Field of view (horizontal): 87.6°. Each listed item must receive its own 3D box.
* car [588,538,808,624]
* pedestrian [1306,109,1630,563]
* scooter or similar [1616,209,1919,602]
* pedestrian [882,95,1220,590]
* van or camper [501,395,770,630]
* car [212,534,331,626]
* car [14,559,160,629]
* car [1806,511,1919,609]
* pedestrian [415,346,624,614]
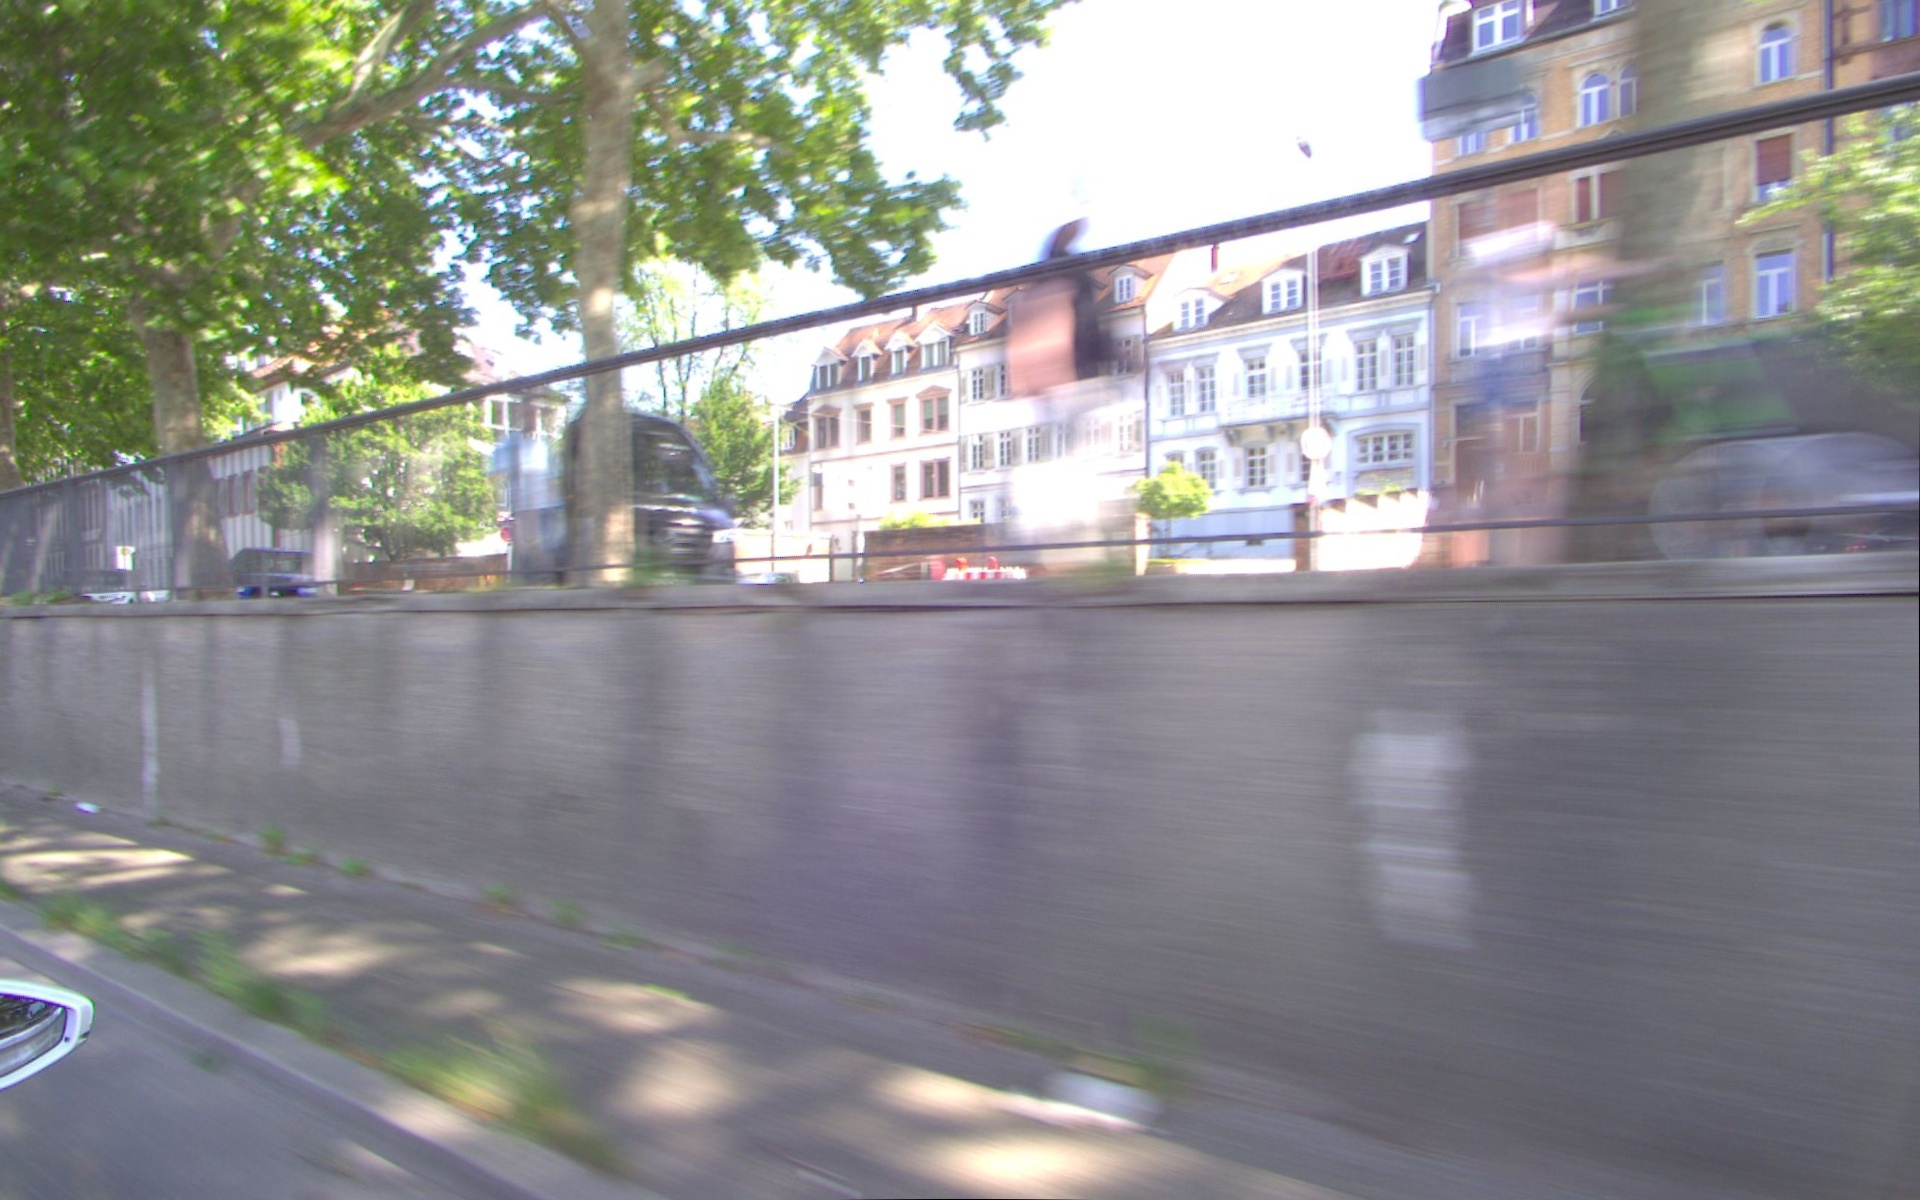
[{"bbox_3d":[-5.277,-0.351,19.956,4.368,1.533,1.831,0,2,35],"label":"car"},{"bbox_3d":[1.860,-0.845,3.689,0.975,1.384,0.678,0,3,32],"label":"pedestrian"},{"bbox_3d":[2.702,-0.536,3.095,1.091,1.040,0.853,0,3,32],"label":"scooter or similar"},{"bbox_3d":[0.393,-0.860,3.965,1.012,1.601,0.934,0,3,30],"label":"pedestrian"},{"bbox_3d":[-4.887,-0.780,13.976,2.311,2.210,7.327,2,-4,-28],"label":"van or camper"},{"bbox_3d":[-12.640,-0.292,18.562,1.632,1.520,3.796,0,-1,-32],"label":"car"},{"bbox_3d":[-20.317,-0.095,23.496,1.754,1.488,3.981,1,-1,-29],"label":"car"},{"bbox_3d":[16.454,-0.632,17.702,1.766,1.557,3.777,1,0,32],"label":"car"},{"bbox_3d":[-2.610,-0.658,5.954,0.935,1.444,0.678,0,3,32],"label":"pedestrian"}]
